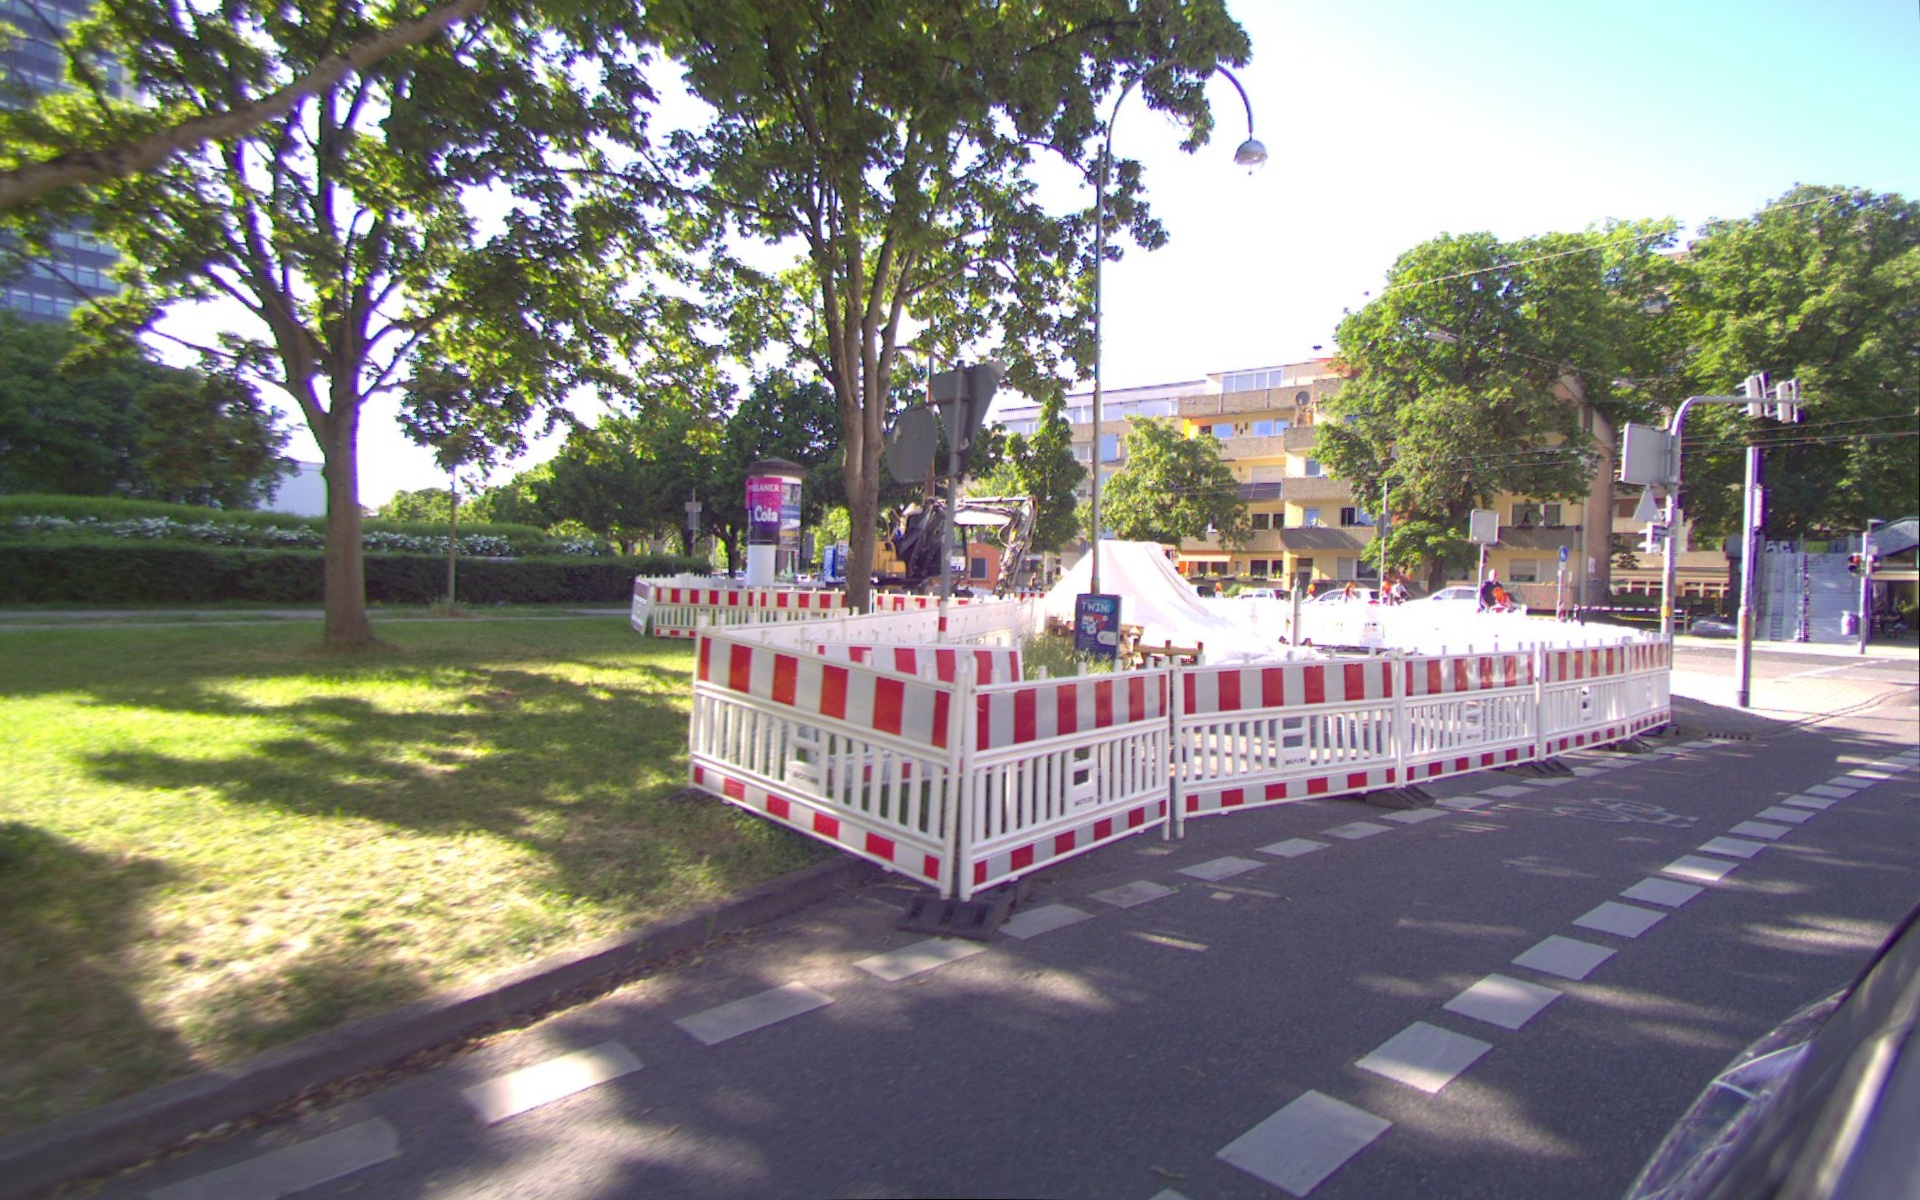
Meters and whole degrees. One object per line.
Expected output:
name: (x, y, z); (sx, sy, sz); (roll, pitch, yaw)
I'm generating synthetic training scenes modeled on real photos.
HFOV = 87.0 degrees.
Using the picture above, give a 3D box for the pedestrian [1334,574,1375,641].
pedestrian: (9.705, 0.182, 24.910); (0.622, 1.620, 0.641); (1, 1, -22)

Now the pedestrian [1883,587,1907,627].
pedestrian: (41.052, 0.289, 44.431); (0.654, 1.712, 0.582); (2, 1, 34)

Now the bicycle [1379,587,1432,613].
bicycle: (19.755, 0.005, 44.938); (0.793, 1.074, 2.198); (1, 1, -22)

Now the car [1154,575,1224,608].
car: (11.592, -0.446, 51.379); (1.456, 1.479, 3.371); (2, 1, -34)

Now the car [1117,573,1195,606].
car: (9.586, -0.554, 49.752); (1.751, 1.536, 3.760); (1, 1, -30)

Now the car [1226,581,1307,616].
car: (14.233, -0.097, 47.070); (1.633, 1.423, 3.296); (2, 1, -32)

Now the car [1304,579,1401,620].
car: (16.739, -0.042, 43.272); (1.624, 1.550, 3.510); (2, 1, -34)

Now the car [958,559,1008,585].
car: (1.546, -1.926, 68.930); (1.774, 1.567, 3.541); (2, 1, -31)

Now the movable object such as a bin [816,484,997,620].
movable object such as a bin: (-1.578, -1.268, 28.100); (2.785, 3.405, 4.705); (0, 1, -39)

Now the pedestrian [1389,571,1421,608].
pedestrian: (19.747, -0.470, 44.933); (0.860, 1.572, 0.936); (1, 1, -22)

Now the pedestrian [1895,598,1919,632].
pedestrian: (38.138, 0.609, 40.634); (0.719, 1.315, 0.582); (2, 1, 34)

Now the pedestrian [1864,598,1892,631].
pedestrian: (37.335, 0.578, 41.159); (0.735, 1.315, 0.606); (2, 1, 34)

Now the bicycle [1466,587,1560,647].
bicycle: (12.728, 0.378, 23.327); (0.641, 1.281, 1.786); (2, 1, -29)

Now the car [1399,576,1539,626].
car: (19.093, 0.009, 38.165); (1.897, 1.639, 4.328); (1, 2, -31)

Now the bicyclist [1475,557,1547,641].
bicyclist: (12.682, -0.033, 23.308); (0.896, 1.853, 1.098); (1, 1, -30)
